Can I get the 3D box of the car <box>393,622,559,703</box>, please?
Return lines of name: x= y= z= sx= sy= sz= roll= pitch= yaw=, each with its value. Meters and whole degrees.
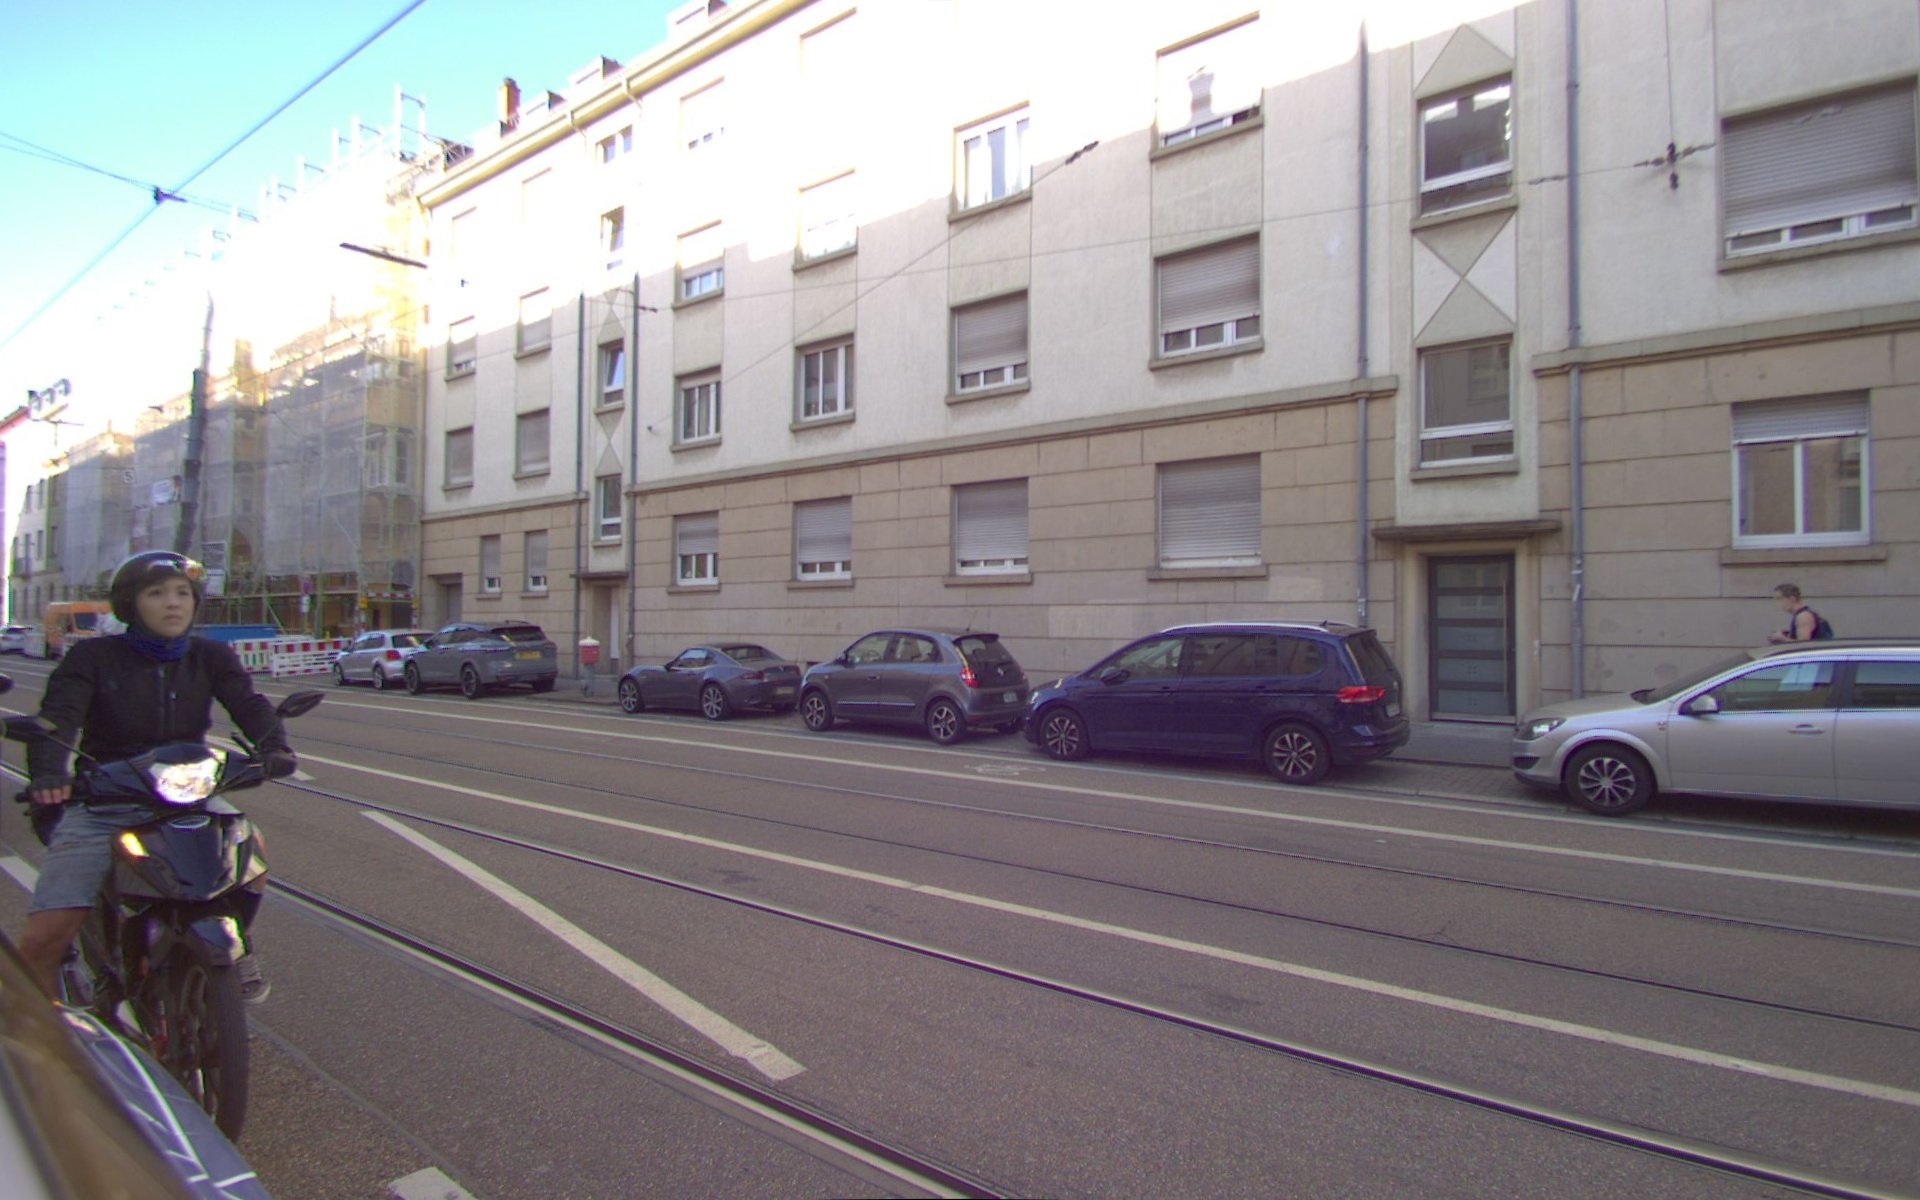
car: x=-10.868 y=1.312 z=22.635 sx=4.108 sy=1.603 sz=1.691 roll=-1 pitch=0 yaw=38

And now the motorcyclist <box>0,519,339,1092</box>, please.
motorcyclist: x=-2.526 y=0.542 z=3.164 sx=0.598 sy=1.516 sz=0.851 roll=-1 pitch=0 yaw=41

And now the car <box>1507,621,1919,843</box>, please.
car: x=7.227 y=0.991 z=8.526 sx=4.358 sy=1.571 sz=1.975 roll=-1 pitch=0 yaw=38

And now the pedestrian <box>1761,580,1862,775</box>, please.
pedestrian: x=8.461 y=0.736 z=10.066 sx=0.733 sy=1.846 sz=0.592 roll=-1 pitch=0 yaw=41

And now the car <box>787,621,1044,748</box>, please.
car: x=-0.701 y=1.115 z=14.679 sx=3.493 sy=1.584 sz=1.650 roll=-1 pitch=0 yaw=38

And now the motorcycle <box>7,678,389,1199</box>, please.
motorcycle: x=-2.401 y=0.911 z=3.075 sx=1.980 sy=1.228 sz=0.532 roll=-1 pitch=0 yaw=41

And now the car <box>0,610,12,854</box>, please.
car: x=-8.009 y=0.836 z=6.980 sx=3.997 sy=1.515 sz=1.670 roll=-1 pitch=-3 yaw=40

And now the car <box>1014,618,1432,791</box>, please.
car: x=2.922 y=1.026 z=11.663 sx=4.285 sy=1.597 sz=1.887 roll=-1 pitch=0 yaw=37

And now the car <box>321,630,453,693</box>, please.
car: x=-14.461 y=1.490 z=25.486 sx=3.639 sy=1.402 sz=1.617 roll=-1 pitch=0 yaw=37

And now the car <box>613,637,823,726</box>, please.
car: x=-4.227 y=1.332 z=17.521 sx=3.483 sy=1.286 sz=1.730 roll=-1 pitch=0 yaw=37
